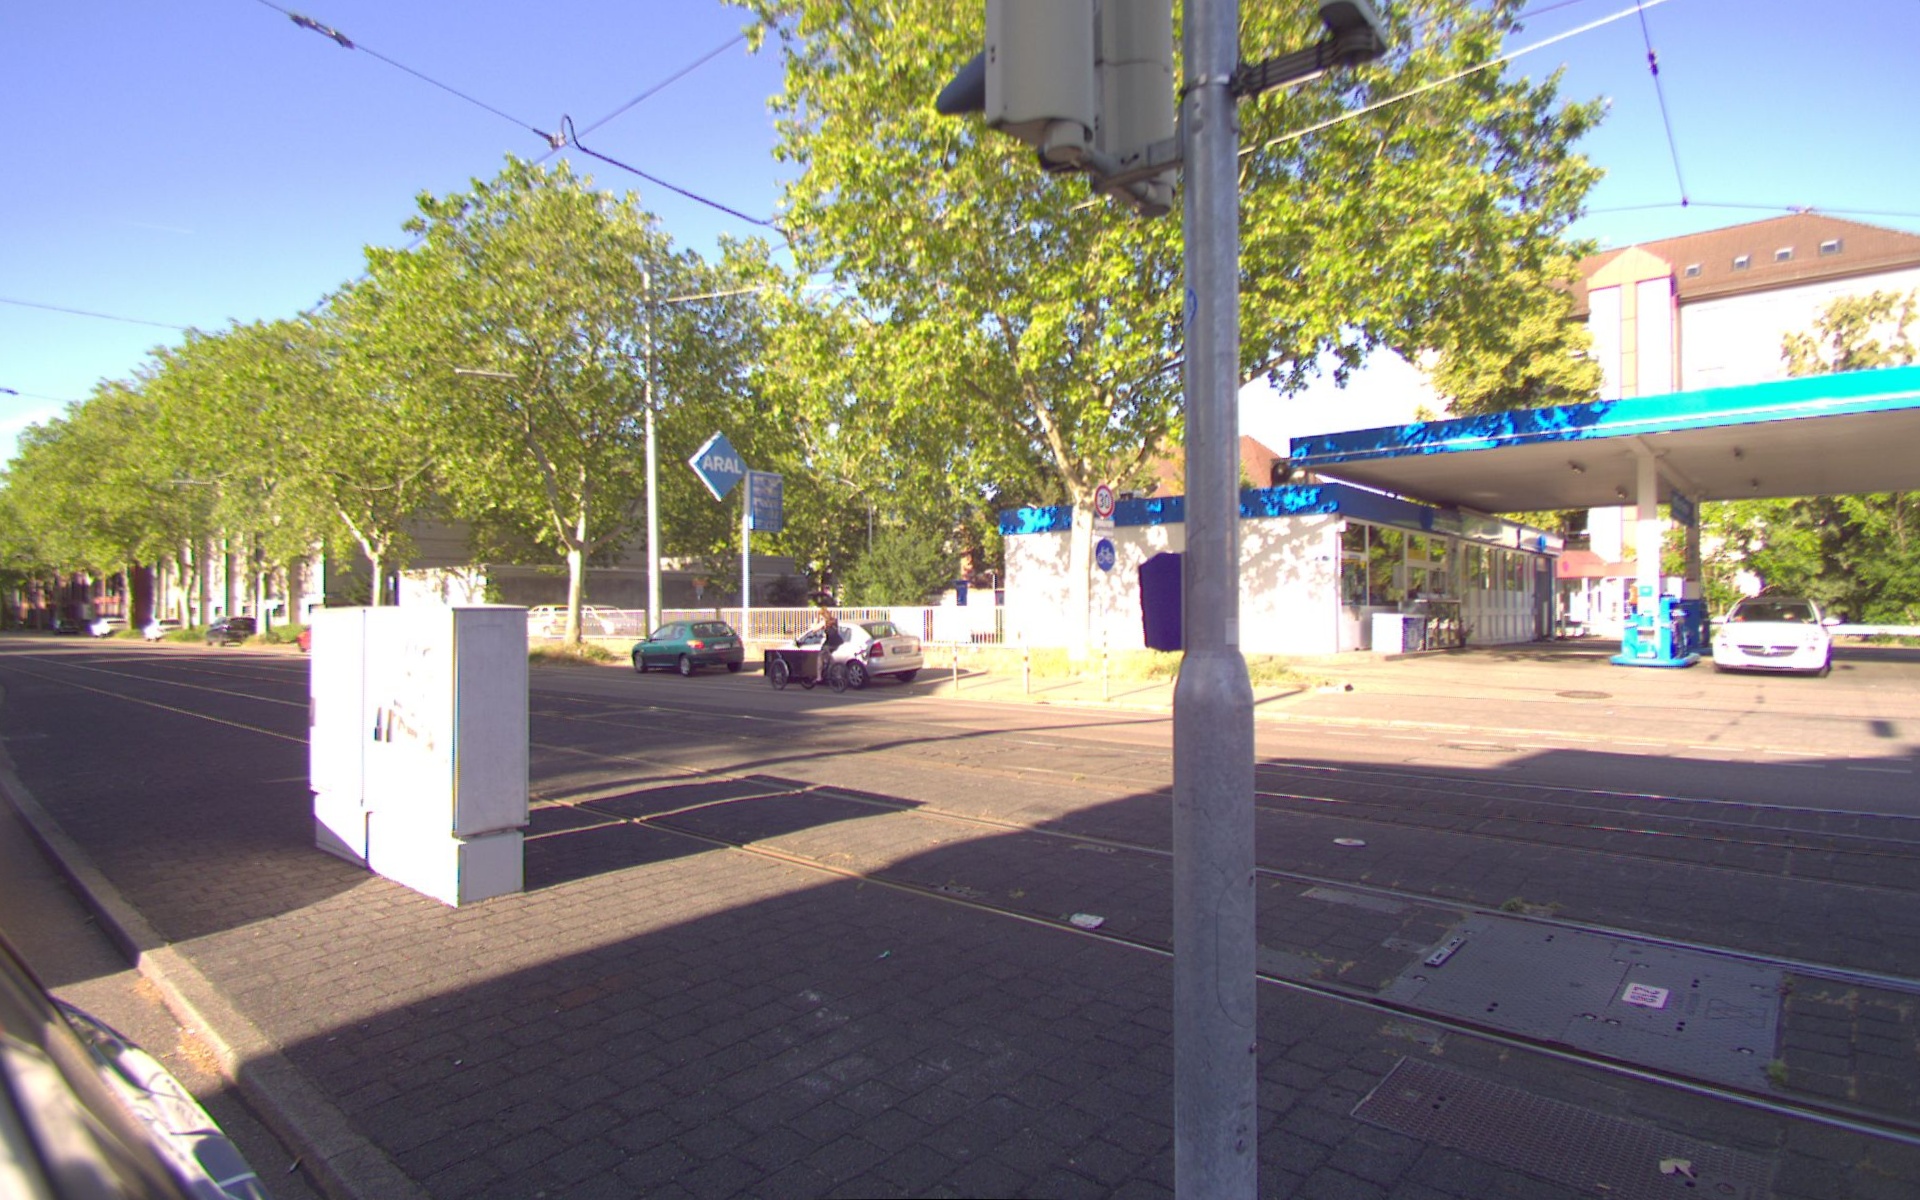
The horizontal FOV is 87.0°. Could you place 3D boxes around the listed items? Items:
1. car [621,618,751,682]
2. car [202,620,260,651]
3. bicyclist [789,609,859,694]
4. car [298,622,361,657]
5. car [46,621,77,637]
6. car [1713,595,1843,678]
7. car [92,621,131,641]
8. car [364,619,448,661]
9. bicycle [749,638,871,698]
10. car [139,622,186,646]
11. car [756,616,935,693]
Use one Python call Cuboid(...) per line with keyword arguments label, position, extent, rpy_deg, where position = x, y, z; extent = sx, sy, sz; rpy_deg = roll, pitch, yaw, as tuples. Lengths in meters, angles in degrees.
Cuboid(label="car", position=(-7.320, 1.279, 26.918), extent=(3.519, 1.475, 1.670), rpy_deg=(-1, 2, 43))
Cuboid(label="car", position=(-40.749, 1.955, 56.572), extent=(3.998, 1.674, 1.779), rpy_deg=(-1, -1, 41))
Cuboid(label="bicyclist", position=(-2.713, 1.003, 20.173), extent=(1.027, 1.650, 0.922), rpy_deg=(-2, -1, 41))
Cuboid(label="car", position=(-28.549, 1.753, 45.782), extent=(3.045, 1.519, 1.620), rpy_deg=(-1, -1, 41))
Cuboid(label="car", position=(-85.323, 2.734, 96.094), extent=(3.998, 1.525, 1.779), rpy_deg=(-1, -1, 41))
Cuboid(label="car", position=(16.036, 0.677, 19.896), extent=(1.812, 1.453, 3.947), rpy_deg=(-1, -1, 39))
Cuboid(label="car", position=(-66.681, 2.404, 79.508), extent=(3.998, 1.525, 1.779), rpy_deg=(-1, -1, 41))
Cuboid(label="car", position=(-21.934, 1.553, 40.036), extent=(3.652, 1.541, 1.802), rpy_deg=(-1, -1, 41))
Cuboid(label="bicycle", position=(-3.045, 1.331, 20.372), extent=(2.518, 1.110, 1.045), rpy_deg=(-1, -3, 41))
Cuboid(label="car", position=(-53.716, 2.268, 68.144), extent=(3.998, 1.509, 1.779), rpy_deg=(-1, -1, 41))
Cuboid(label="car", position=(-2.621, 1.161, 22.649), extent=(3.965, 1.475, 1.771), rpy_deg=(-1, 2, 43))
